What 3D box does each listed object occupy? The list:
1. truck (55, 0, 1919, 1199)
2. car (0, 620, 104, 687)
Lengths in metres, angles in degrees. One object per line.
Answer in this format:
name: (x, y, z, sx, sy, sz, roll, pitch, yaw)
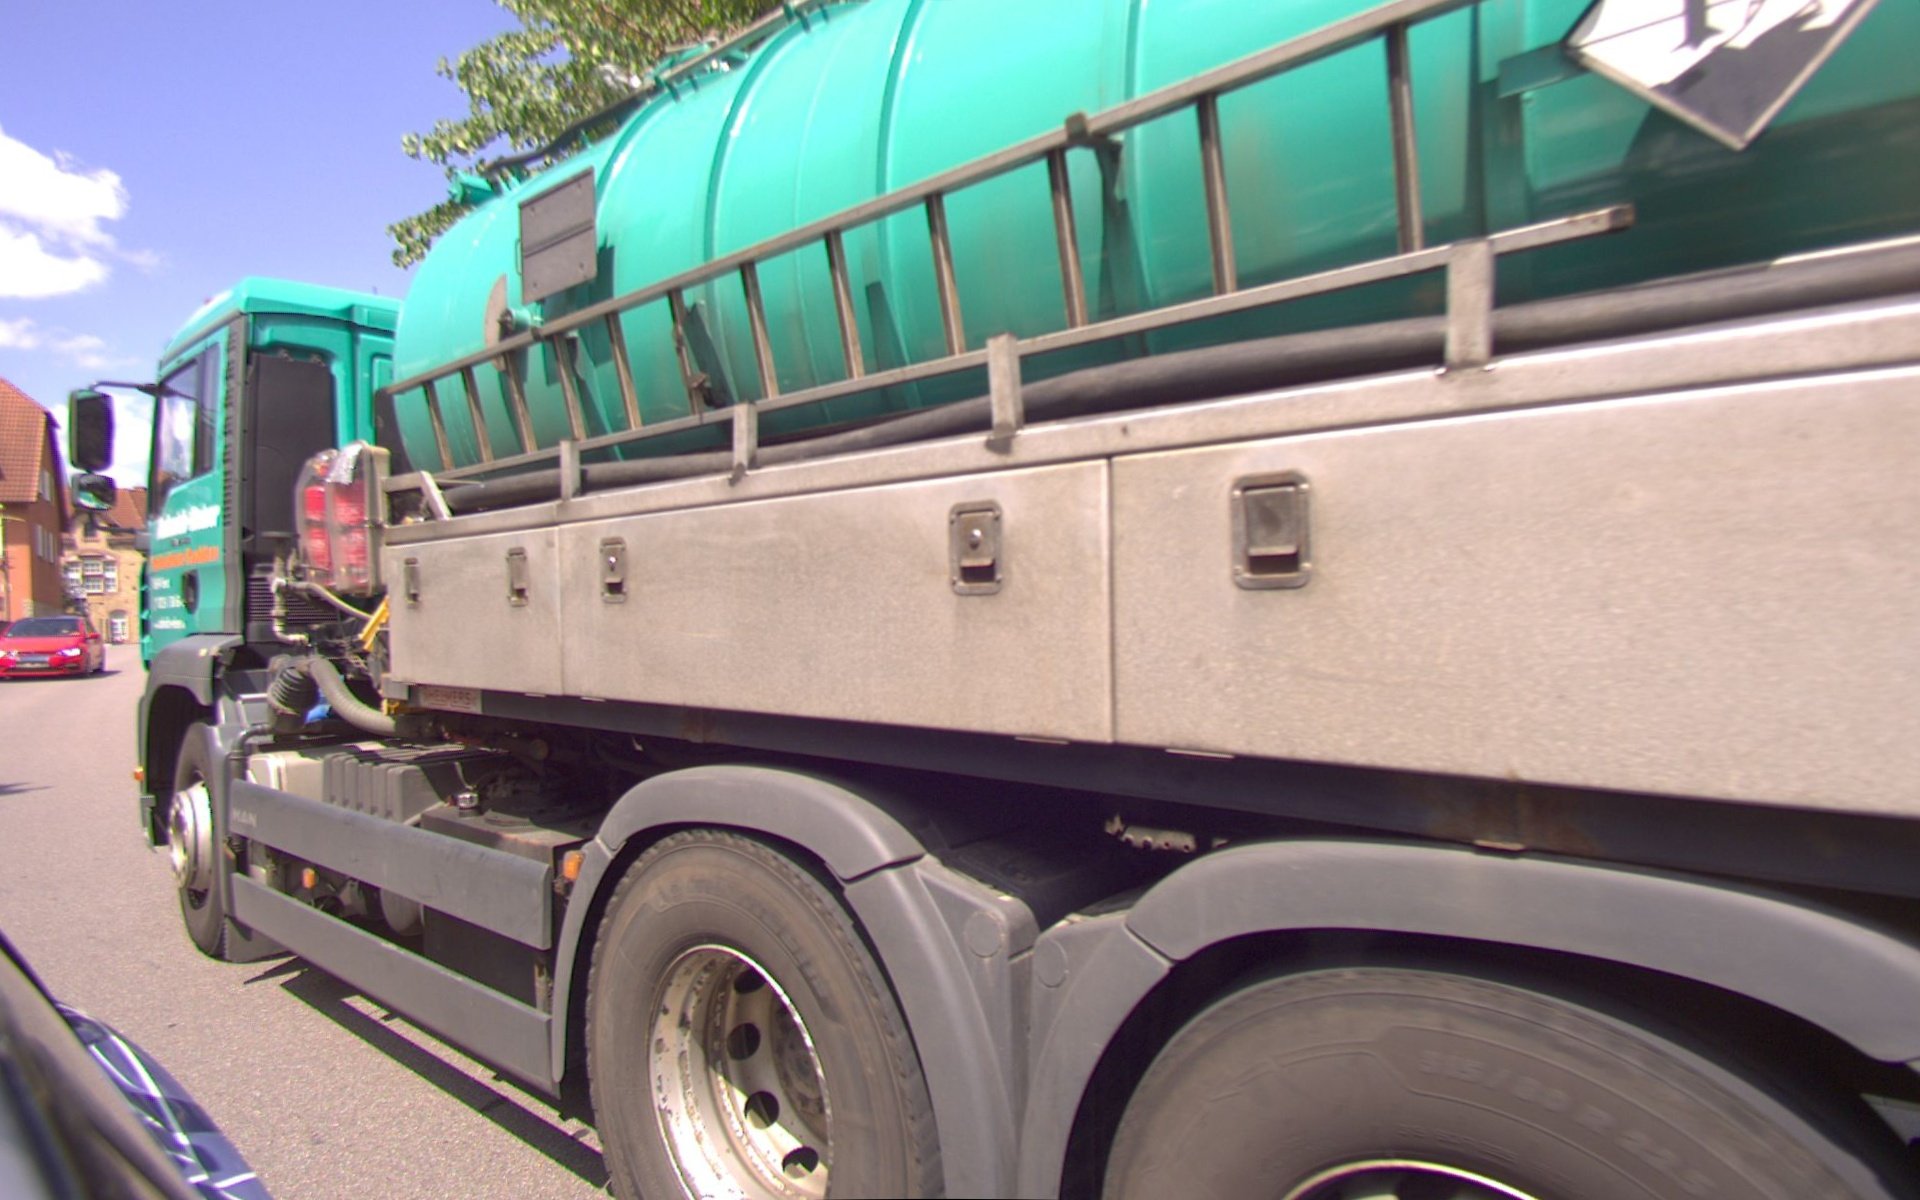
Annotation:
truck: (-0.714, -0.416, 3.490, 9.561, 3.686, 2.387, -2, -2, 41)
car: (-20.687, 1.148, 22.903, 1.643, 1.362, 3.503, -1, 0, -34)
